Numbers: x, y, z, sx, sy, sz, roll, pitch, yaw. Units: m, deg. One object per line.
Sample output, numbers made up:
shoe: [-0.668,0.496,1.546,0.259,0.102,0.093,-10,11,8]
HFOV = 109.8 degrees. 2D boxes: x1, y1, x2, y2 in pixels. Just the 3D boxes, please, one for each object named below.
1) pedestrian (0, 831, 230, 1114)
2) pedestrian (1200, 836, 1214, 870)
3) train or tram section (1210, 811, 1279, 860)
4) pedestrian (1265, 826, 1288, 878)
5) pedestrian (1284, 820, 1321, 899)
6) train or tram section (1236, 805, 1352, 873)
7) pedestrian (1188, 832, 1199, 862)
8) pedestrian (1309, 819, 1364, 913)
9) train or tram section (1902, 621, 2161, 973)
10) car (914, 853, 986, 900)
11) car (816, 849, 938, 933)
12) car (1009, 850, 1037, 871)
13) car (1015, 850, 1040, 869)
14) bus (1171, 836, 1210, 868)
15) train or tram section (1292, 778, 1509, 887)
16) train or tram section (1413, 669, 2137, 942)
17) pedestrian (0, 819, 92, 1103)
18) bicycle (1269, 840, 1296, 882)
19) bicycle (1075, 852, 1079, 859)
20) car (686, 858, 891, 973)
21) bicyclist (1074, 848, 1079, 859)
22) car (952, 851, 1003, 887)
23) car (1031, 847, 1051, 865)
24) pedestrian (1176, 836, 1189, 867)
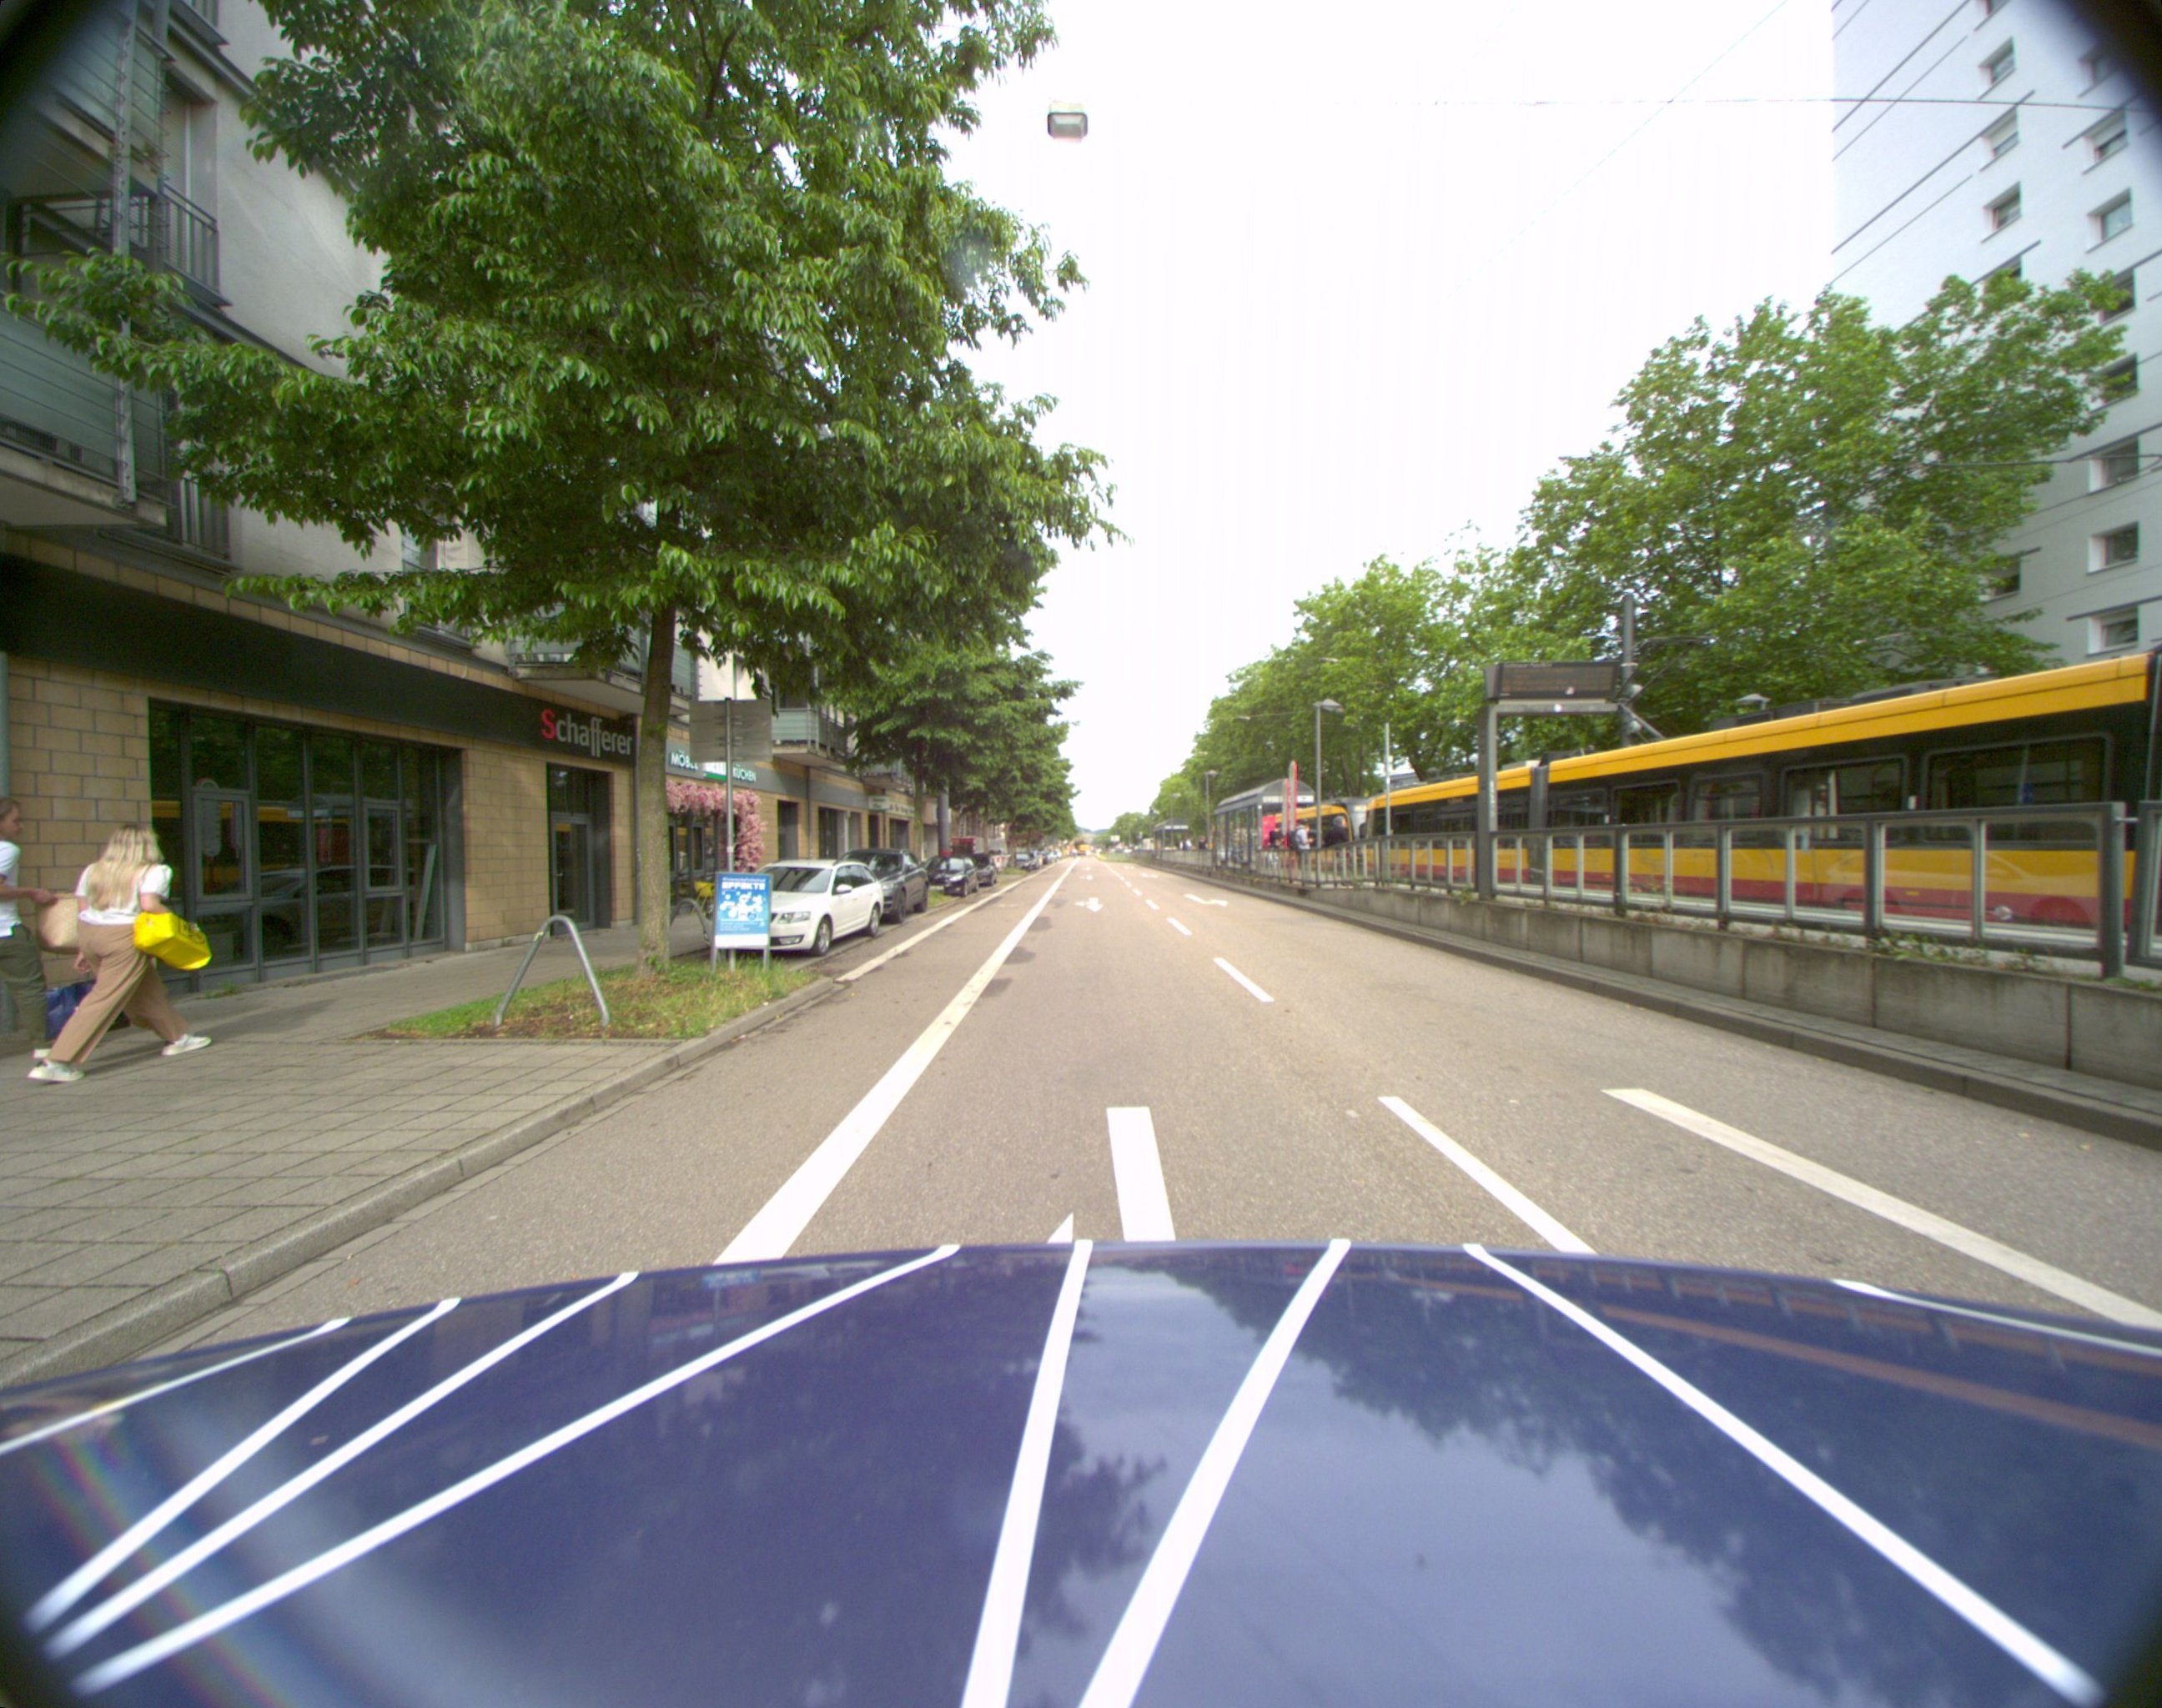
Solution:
pedestrian: [-6.550,0.750,5.176,0.617,1.795,0.737,0,1,2]
pedestrian: [6.025,-0.044,36.420,0.513,1.623,0.730,-2,1,2]
train or tram section: [13.210,-1.449,62.773,3.100,3.541,12.537,-2,1,1]
pedestrian: [6.231,-0.056,24.208,0.532,1.623,0.471,-2,1,-2]
pedestrian: [5.755,0.131,19.731,0.753,2.002,0.819,-2,2,24]
train or tram section: [13.010,-0.939,48.624,3.067,3.511,15.769,-2,1,1]
pedestrian: [6.132,-0.380,41.311,0.480,1.623,0.392,-2,1,2]
pedestrian: [5.650,0.248,16.830,0.756,2.002,0.816,-3,2,-36]
train or tram section: [12.446,-0.544,2.228,3.067,3.568,15.846,-2,1,1]
car: [-4.613,0.743,27.365,1.680,1.433,4.407,2,1,2]
car: [-4.747,0.765,18.414,1.716,1.707,4.710,2,1,-1]
car: [-4.288,0.471,56.509,1.755,1.452,4.279,1,1,0]
car: [-4.352,0.457,62.664,1.755,1.452,4.279,1,1,0]
bus: [7.362,-0.180,51.479,1.998,2.002,3.999,-2,1,1]
train or tram section: [12.829,-0.831,33.101,3.067,3.511,15.292,-2,1,1]
train or tram section: [12.630,-0.756,17.789,3.067,3.511,15.292,-2,1,1]
pedestrian: [-7.482,0.706,5.098,0.676,1.880,0.737,0,1,2]
bicycle: [6.118,0.189,23.109,0.420,1.215,1.289,-2,1,0]
bicycle: [-0.594,0.303,123.818,0.613,1.116,2.050,-2,1,1]
car: [-4.709,0.889,12.996,1.680,1.490,4.389,2,1,2]
bicyclist: [-0.670,-0.104,123.786,0.751,1.777,0.838,-2,1,1]
car: [-4.698,0.639,35.065,1.802,1.447,4.387,2,1,-1]
car: [-4.087,0.163,78.814,1.837,1.720,4.279,1,1,0]
pedestrian: [6.671,-0.163,49.984,0.676,2.002,0.588,-2,1,-2]
